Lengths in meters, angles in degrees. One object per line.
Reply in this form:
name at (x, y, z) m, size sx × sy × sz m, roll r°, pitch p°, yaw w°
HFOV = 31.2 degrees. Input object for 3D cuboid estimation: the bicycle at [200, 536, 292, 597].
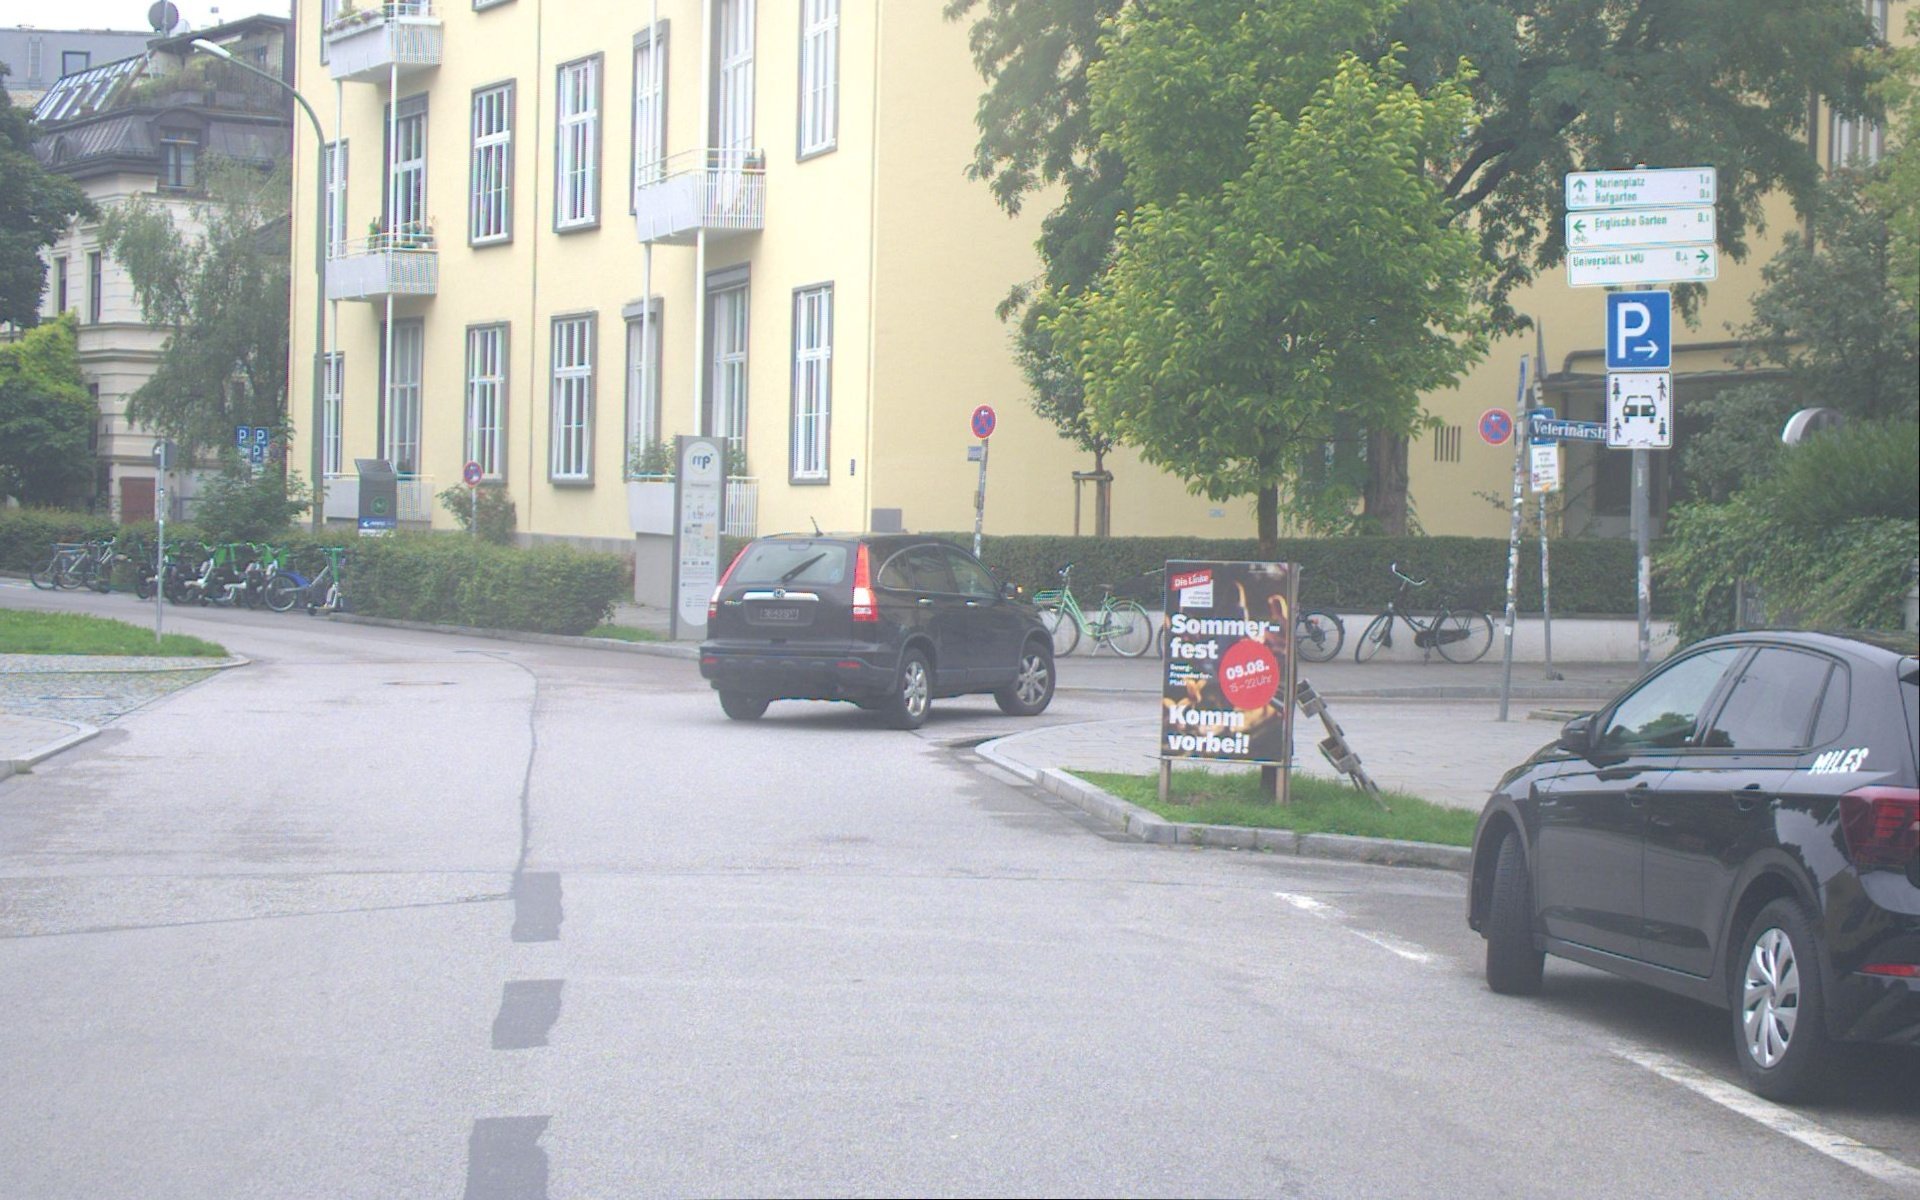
bicycle at (-13.115, -0.630, 63.214) m, size 0.576 × 1.082 × 1.931 m, roll 1°, pitch 2°, yaw 27°

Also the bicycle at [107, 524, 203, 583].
bicycle at (-15.515, -0.907, 66.275) m, size 0.763 × 1.082 × 2.139 m, roll 1°, pitch 2°, yaw 20°

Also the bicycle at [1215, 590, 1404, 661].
bicycle at (4.260, 0.305, 41.900) m, size 2.212 × 0.776 × 0.610 m, roll 2°, pitch 1°, yaw 16°

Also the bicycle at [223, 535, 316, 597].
bicycle at (-12.581, -0.624, 62.683) m, size 0.576 × 1.082 × 1.931 m, roll 1°, pitch 2°, yaw 27°

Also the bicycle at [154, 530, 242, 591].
bicycle at (-14.137, -0.742, 63.854) m, size 0.638 × 1.082 × 1.984 m, roll 1°, pitch 2°, yaw 20°

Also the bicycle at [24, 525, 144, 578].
bicycle at (-18.311, -1.022, 71.856) m, size 2.331 × 1.082 × 0.693 m, roll -1°, pitch 2°, yaw -35°

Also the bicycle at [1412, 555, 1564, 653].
bicycle at (6.427, 0.047, 41.911) m, size 1.735 × 1.146 × 0.610 m, roll 1°, pitch 1°, yaw 0°

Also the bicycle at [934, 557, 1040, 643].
bicycle at (0.340, -0.017, 45.400) m, size 0.608 × 1.069 × 2.218 m, roll 0°, pitch 2°, yaw -21°

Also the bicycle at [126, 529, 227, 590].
bicycle at (-14.701, -0.768, 64.551) m, size 0.696 × 1.082 × 2.337 m, roll 1°, pitch 2°, yaw 20°

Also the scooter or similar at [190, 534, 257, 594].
scooter or similar at (-13.608, -0.672, 63.543) m, size 0.496 × 1.084 × 1.408 m, roll 1°, pitch 2°, yaw 23°

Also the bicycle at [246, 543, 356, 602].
bicycle at (-11.600, -0.487, 60.540) m, size 1.823 × 1.002 × 0.577 m, roll -1°, pitch 2°, yaw -32°

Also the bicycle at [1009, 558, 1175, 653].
bicycle at (1.650, 0.062, 43.235) m, size 2.216 × 1.113 × 0.608 m, roll 3°, pitch 2°, yaw 44°

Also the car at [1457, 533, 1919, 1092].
car at (3.082, 0.618, 11.728) m, size 1.703 × 1.513 × 3.960 m, roll 5°, pitch 1°, yaw -6°

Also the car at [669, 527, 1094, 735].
car at (-0.618, 0.229, 30.964) m, size 1.998 × 1.688 × 4.374 m, roll 2°, pitch 1°, yaw 26°

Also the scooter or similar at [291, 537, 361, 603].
scooter or similar at (-10.926, -0.528, 59.285) m, size 0.496 × 1.105 × 1.408 m, roll 1°, pitch 2°, yaw 23°
